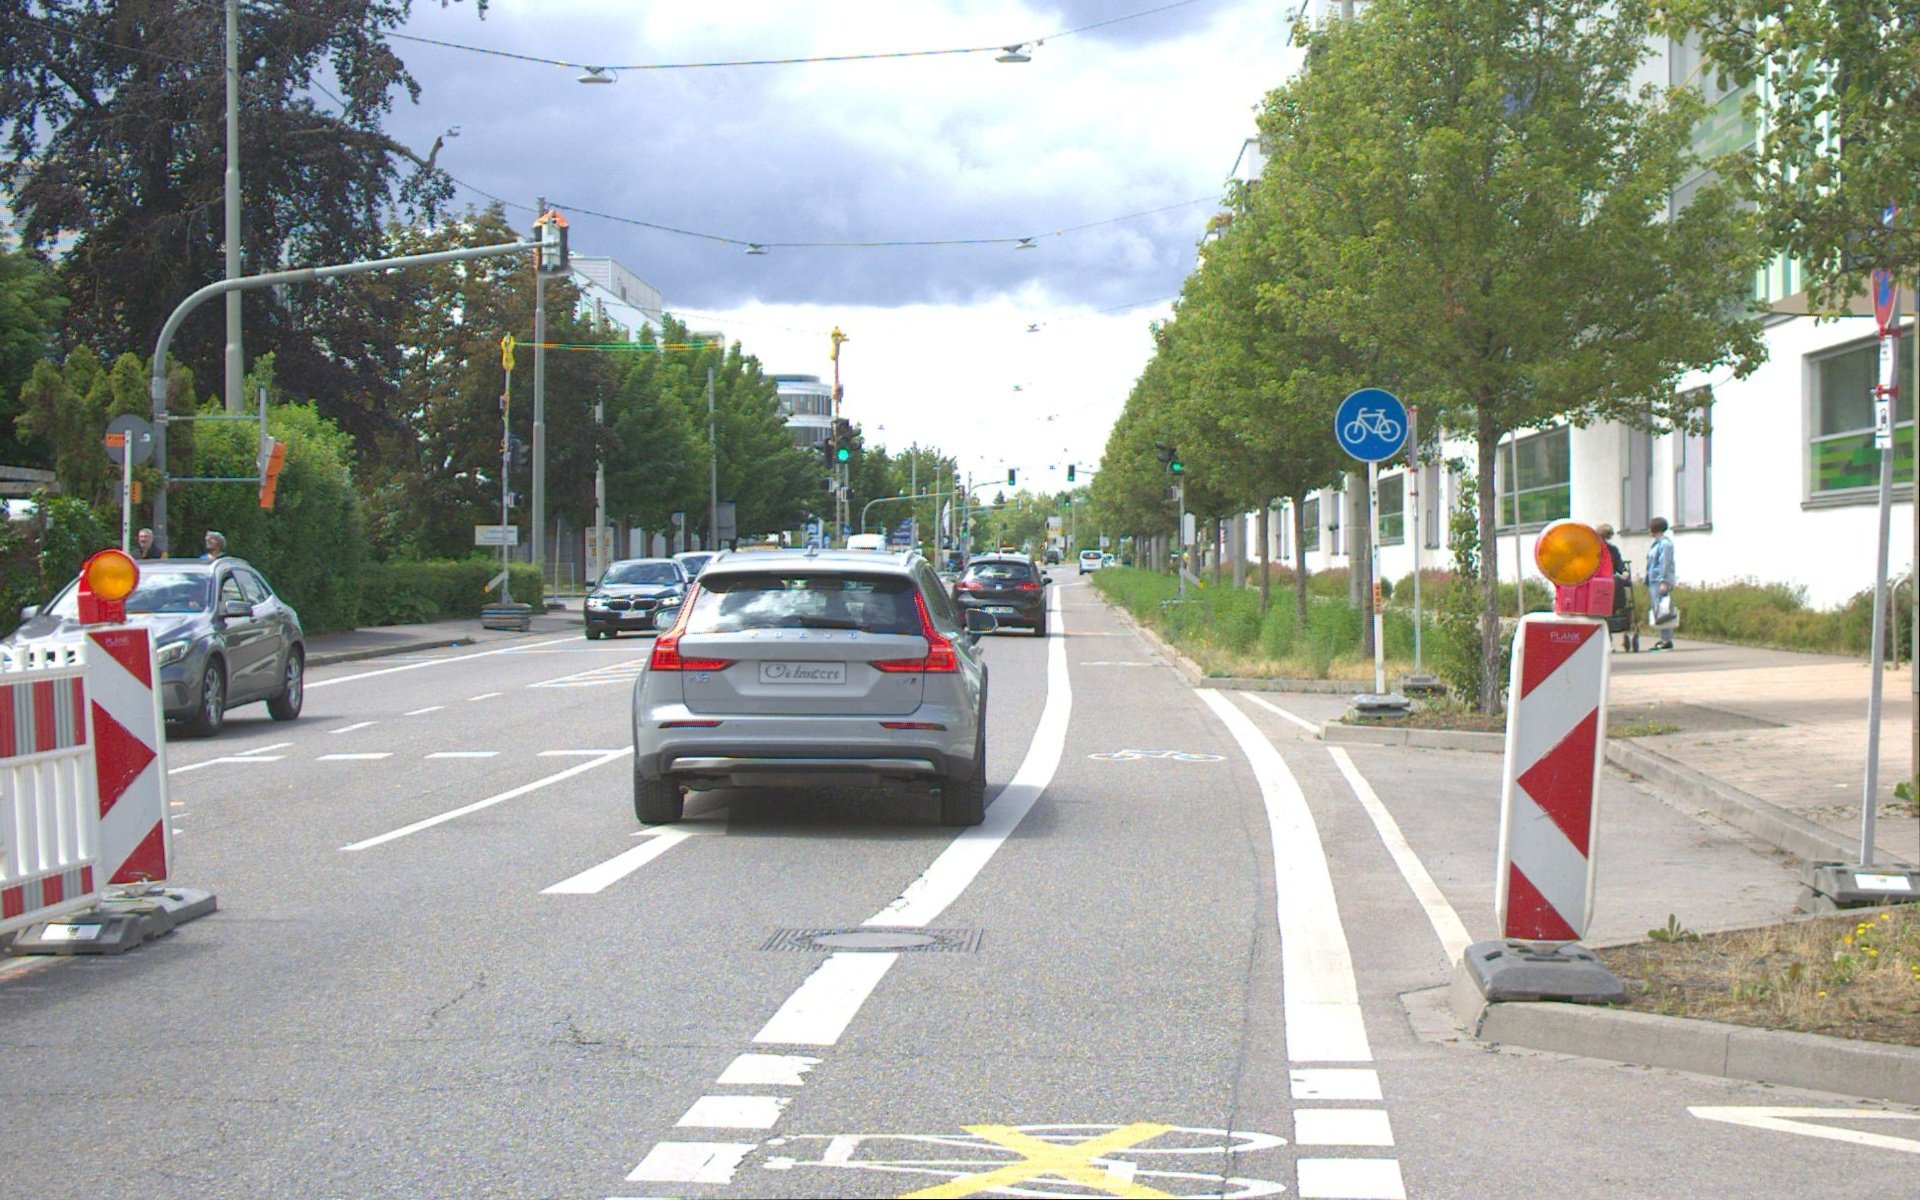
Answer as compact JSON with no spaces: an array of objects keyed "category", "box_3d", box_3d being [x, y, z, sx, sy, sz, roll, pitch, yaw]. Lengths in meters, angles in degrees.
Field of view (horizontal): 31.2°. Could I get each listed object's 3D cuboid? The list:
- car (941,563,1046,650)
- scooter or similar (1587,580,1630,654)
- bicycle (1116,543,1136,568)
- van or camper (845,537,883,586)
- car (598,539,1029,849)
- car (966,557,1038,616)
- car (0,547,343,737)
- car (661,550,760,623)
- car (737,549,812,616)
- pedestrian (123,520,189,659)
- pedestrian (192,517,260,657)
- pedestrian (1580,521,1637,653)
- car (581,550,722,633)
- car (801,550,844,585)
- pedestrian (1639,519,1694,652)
[{"category":"car","box_3d":[0.635,0.101,63.159,1.854,1.508,4.000,1,1,1]},{"category":"scooter or similar","box_3d":[8.144,0.212,43.184,0.421,0.902,0.682,-1,1,1]},{"category":"bicycle","box_3d":[9.733,-2.621,201.464,1.067,1.448,2.977,-1,1,1]},{"category":"van or camper","box_3d":[-5.495,-2.179,195.565,1.993,2.724,6.053,-1,1,-3]},{"category":"car","box_3d":[-0.700,0.440,19.195,1.855,1.508,3.999,1,1,5]},{"category":"car","box_3d":[1.110,-0.370,90.853,1.845,1.508,4.000,1,1,1]},{"category":"car","box_3d":[-6.802,0.318,29.696,1.855,1.508,3.999,-1,1,6]},{"category":"car","box_3d":[-5.560,-0.330,77.176,1.749,1.550,4.402,-1,1,2]},{"category":"car","box_3d":[-5.478,-0.534,101.934,1.841,1.898,4.685,-1,1,1]},{"category":"pedestrian","box_3d":[-10.813,-0.147,46.238,0.681,1.848,0.706,-1,0,2]},{"category":"pedestrian","box_3d":[-9.869,-0.177,46.257,0.681,1.848,0.892,-1,0,2]},{"category":"pedestrian","box_3d":[8.244,-0.169,43.714,0.605,1.649,0.552,-1,1,1]},{"category":"car","box_3d":[-5.635,-0.171,63.355,1.993,1.395,4.811,-2,1,2]},{"category":"car","box_3d":[-6.160,-1.472,154.127,1.661,1.510,4.000,0,1,1]},{"category":"pedestrian","box_3d":[8.863,-0.179,43.147,0.550,1.649,0.607,-1,1,1]}]
